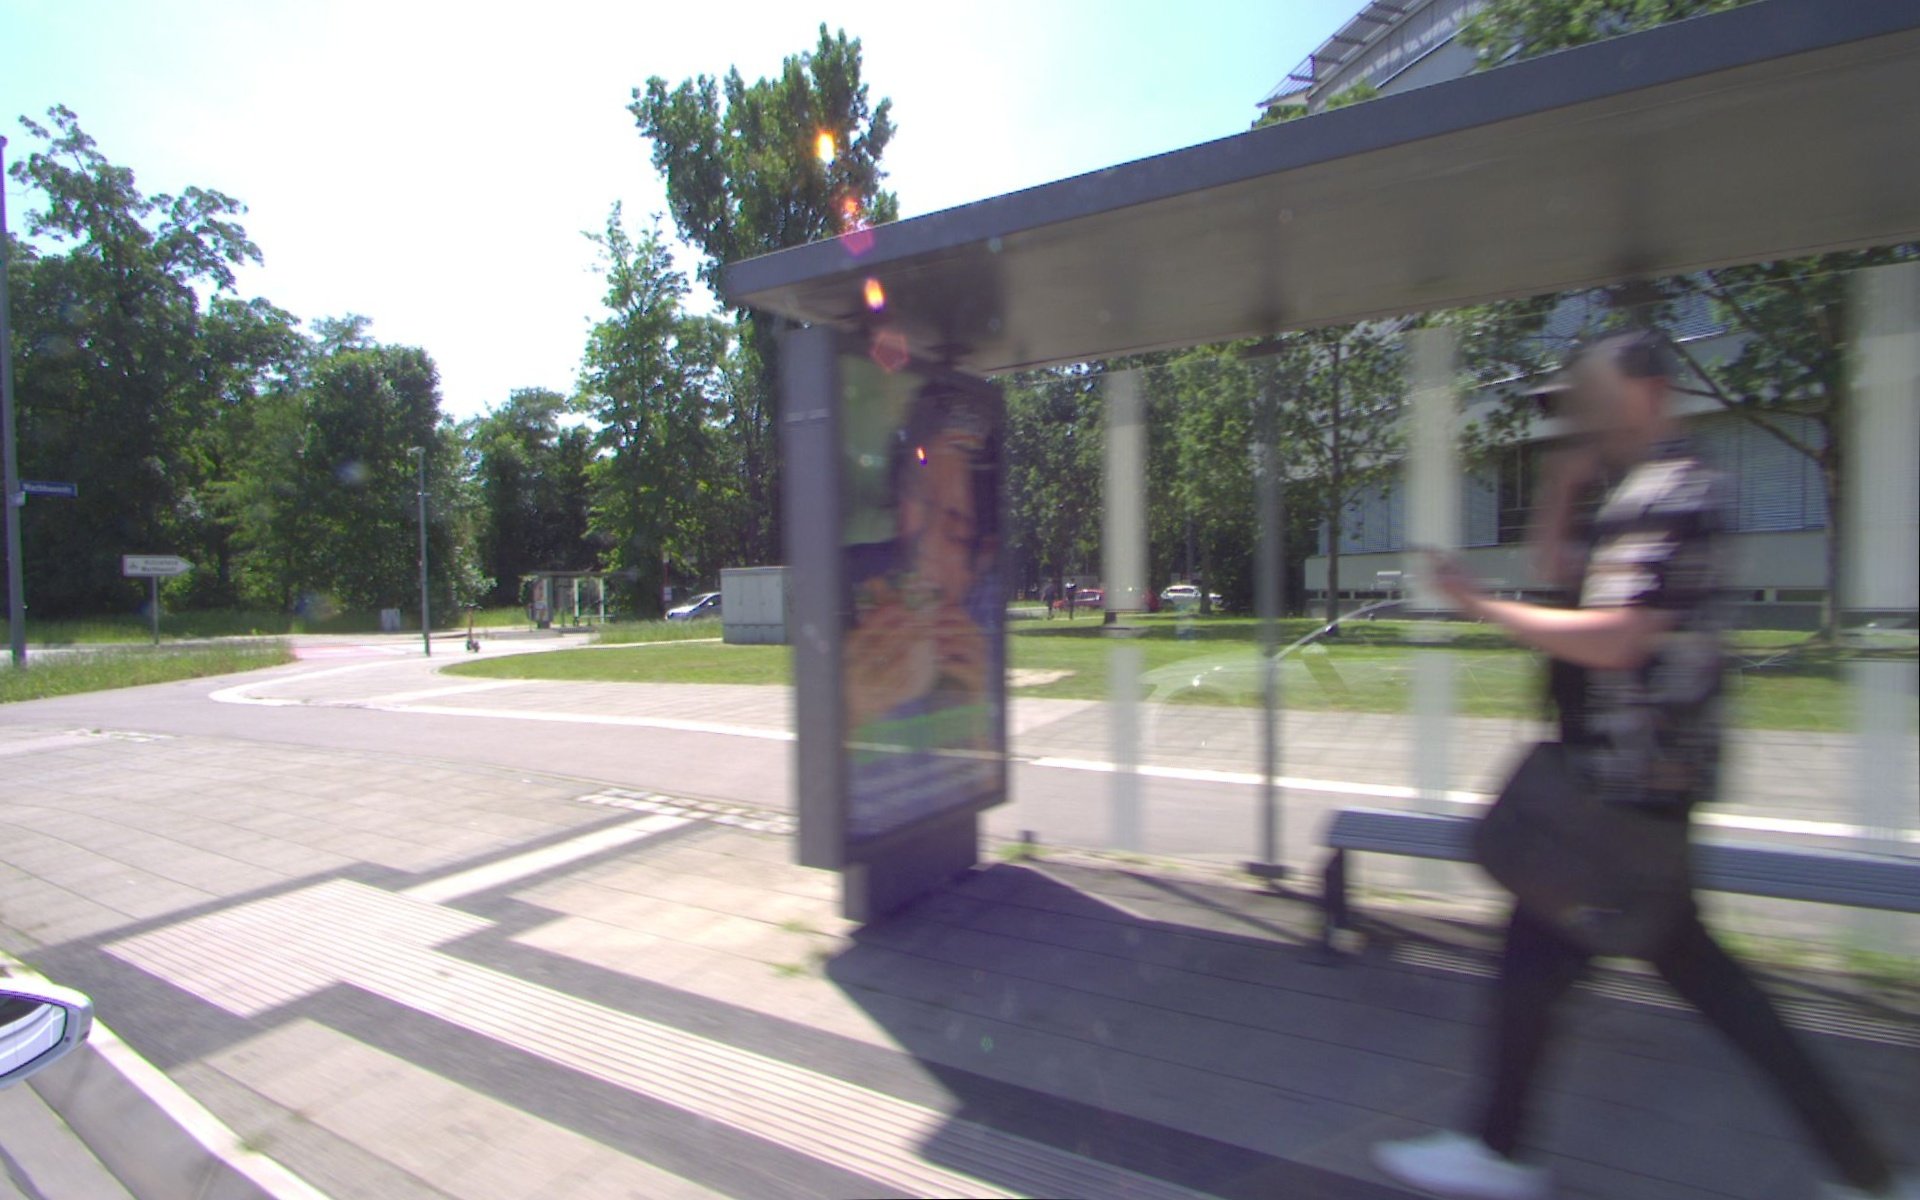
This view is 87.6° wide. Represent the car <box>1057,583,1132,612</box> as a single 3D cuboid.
[{"bbox_3d":[7.277,-0.099,54.290,3.631,1.503,1.859,-1,0,32],"label":"car"}]

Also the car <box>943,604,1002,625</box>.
[{"bbox_3d":[0.843,0.927,65.410,1.973,1.327,3.976,0,0,35],"label":"car"}]

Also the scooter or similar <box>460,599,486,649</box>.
[{"bbox_3d":[-12.264,0.588,25.203,0.442,1.217,1.391,-1,0,-31],"label":"scooter or similar"}]

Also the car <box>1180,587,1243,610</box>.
[{"bbox_3d":[16.554,-0.080,65.900,3.631,1.503,1.859,-1,0,32],"label":"car"}]

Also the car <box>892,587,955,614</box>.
[{"bbox_3d":[-2.140,0.021,59.807,1.680,1.506,3.975,3,2,35],"label":"car"}]

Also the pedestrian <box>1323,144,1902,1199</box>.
[{"bbox_3d":[1.242,0.239,2.035,0.814,1.847,0.706,0,4,31],"label":"pedestrian"}]

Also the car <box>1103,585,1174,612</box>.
[{"bbox_3d":[10.383,-0.092,58.176,3.631,1.503,1.859,-1,0,32],"label":"car"}]

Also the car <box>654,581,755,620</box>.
[{"bbox_3d":[-11.209,0.036,44.170,1.769,1.628,4.095,0,0,40],"label":"car"}]
